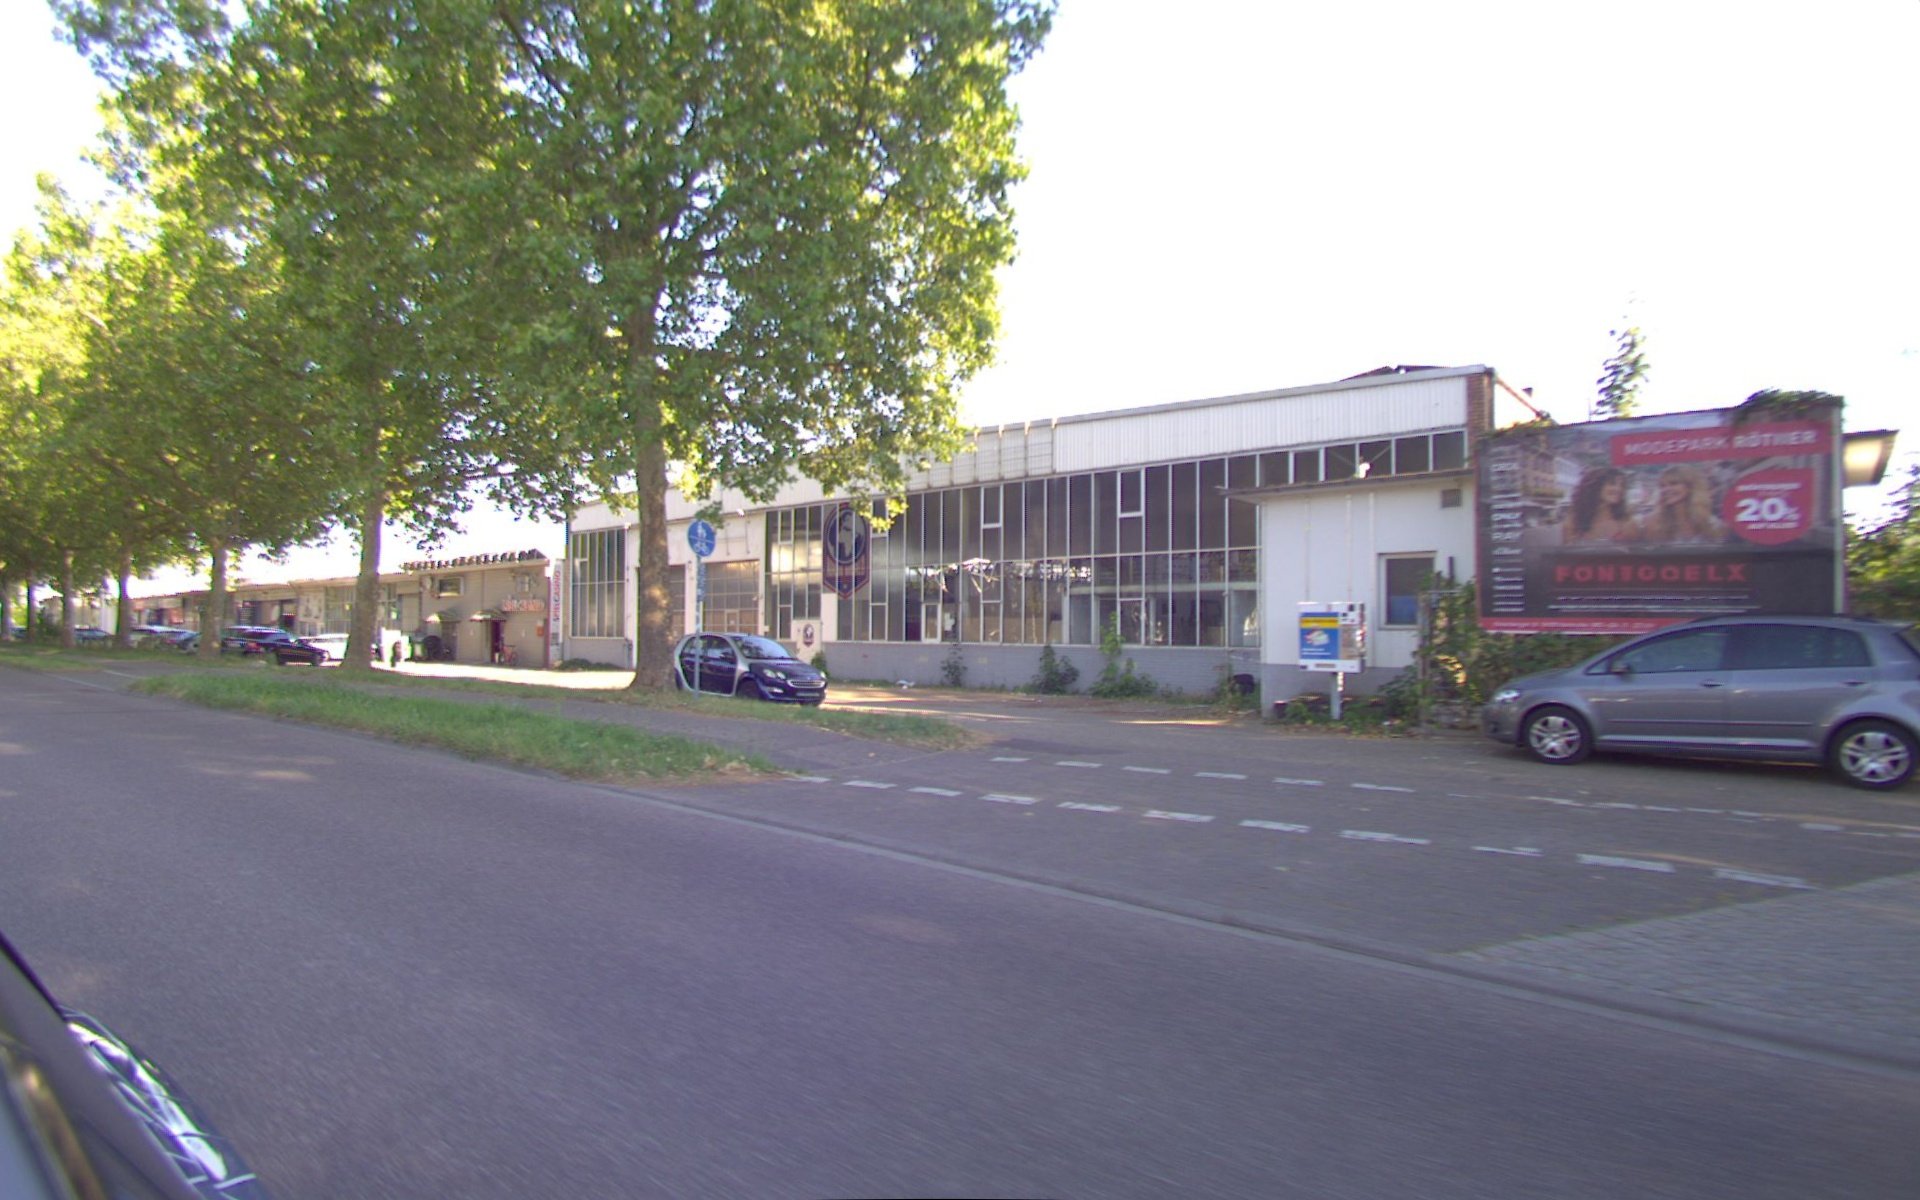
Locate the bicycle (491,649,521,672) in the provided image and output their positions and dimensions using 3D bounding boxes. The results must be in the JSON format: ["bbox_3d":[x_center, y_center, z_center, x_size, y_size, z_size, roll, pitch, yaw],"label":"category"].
[{"bbox_3d":[-23.069,3.055,51.404,2.159,1.066,0.530,-1,4,42],"label":"bicycle"}]

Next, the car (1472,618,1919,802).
[{"bbox_3d":[7.932,0.988,10.540,4.272,1.588,1.972,-1,-1,43],"label":"car"}]

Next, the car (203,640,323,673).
[{"bbox_3d":[-29.165,2.329,42.532,1.972,1.316,4.484,0,-2,-1],"label":"car"}]

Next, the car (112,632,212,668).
[{"bbox_3d":[-39.407,2.435,50.132,1.969,1.642,4.269,0,-1,-7],"label":"car"}]

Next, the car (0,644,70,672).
[{"bbox_3d":[-66.766,4.112,72.041,1.983,1.773,4.872,0,-1,17],"label":"car"}]

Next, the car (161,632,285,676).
[{"bbox_3d":[-31.980,2.297,44.116,1.974,1.744,4.479,0,-1,3],"label":"car"}]

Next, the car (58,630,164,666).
[{"bbox_3d":[-44.711,2.492,53.432,1.977,1.763,3.989,0,-1,9],"label":"car"}]

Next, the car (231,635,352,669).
[{"bbox_3d":[-27.060,2.108,41.146,1.972,1.316,4.484,0,-2,-1],"label":"car"}]

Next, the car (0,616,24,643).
[{"bbox_3d":[-107.601,3.109,110.984,2.575,2.875,6.931,0,-6,12],"label":"car"}]

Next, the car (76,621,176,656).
[{"bbox_3d":[-43.265,1.948,52.618,1.969,1.712,4.268,0,-1,-6],"label":"car"}]

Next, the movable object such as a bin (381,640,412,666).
[{"bbox_3d":[-32.289,3.025,58.025,1.571,1.442,1.046,-1,-1,39],"label":"movable object such as a bin"}]

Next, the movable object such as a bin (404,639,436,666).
[{"bbox_3d":[-30.738,2.980,57.634,1.626,1.442,1.046,-1,-1,39],"label":"movable object such as a bin"}]

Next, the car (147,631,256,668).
[{"bbox_3d":[-36.935,2.386,49.442,1.974,1.642,4.258,0,-1,3],"label":"car"}]

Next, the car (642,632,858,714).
[{"bbox_3d":[-4.130,1.409,19.748,3.913,1.380,1.975,-1,-7,37],"label":"car"}]

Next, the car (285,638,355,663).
[{"bbox_3d":[-39.381,3.095,62.330,3.244,1.417,1.713,0,-1,-11],"label":"car"}]
